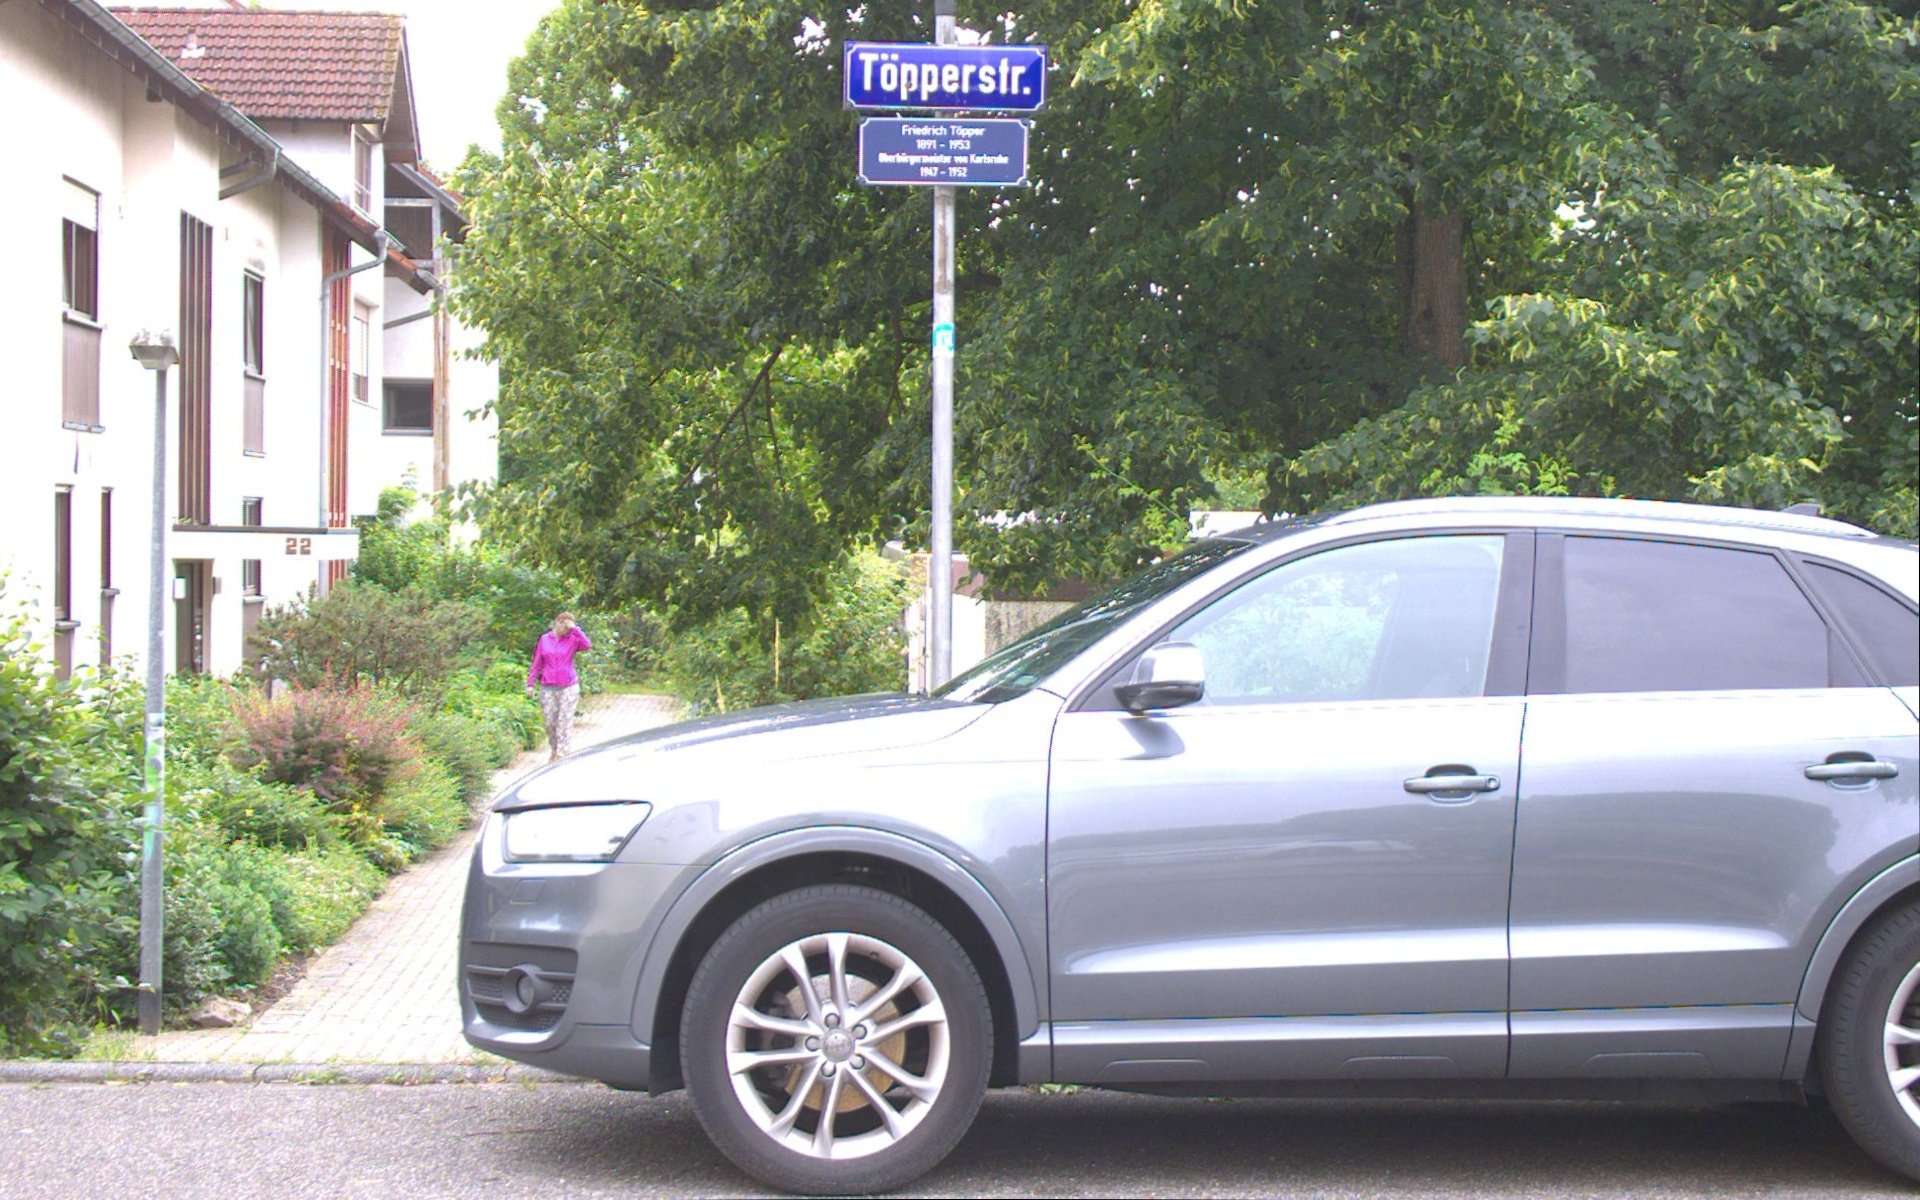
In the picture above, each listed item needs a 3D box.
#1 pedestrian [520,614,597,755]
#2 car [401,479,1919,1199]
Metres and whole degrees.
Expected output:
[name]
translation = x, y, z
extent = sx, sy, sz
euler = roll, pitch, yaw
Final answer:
[pedestrian]
translation = -4.339, 0.910, 37.158
extent = 0.815, 1.512, 0.438
euler = 0, 0, -6
[car]
translation = 0.882, 0.537, 8.301
extent = 4.236, 1.526, 1.747
euler = 1, -1, -4
